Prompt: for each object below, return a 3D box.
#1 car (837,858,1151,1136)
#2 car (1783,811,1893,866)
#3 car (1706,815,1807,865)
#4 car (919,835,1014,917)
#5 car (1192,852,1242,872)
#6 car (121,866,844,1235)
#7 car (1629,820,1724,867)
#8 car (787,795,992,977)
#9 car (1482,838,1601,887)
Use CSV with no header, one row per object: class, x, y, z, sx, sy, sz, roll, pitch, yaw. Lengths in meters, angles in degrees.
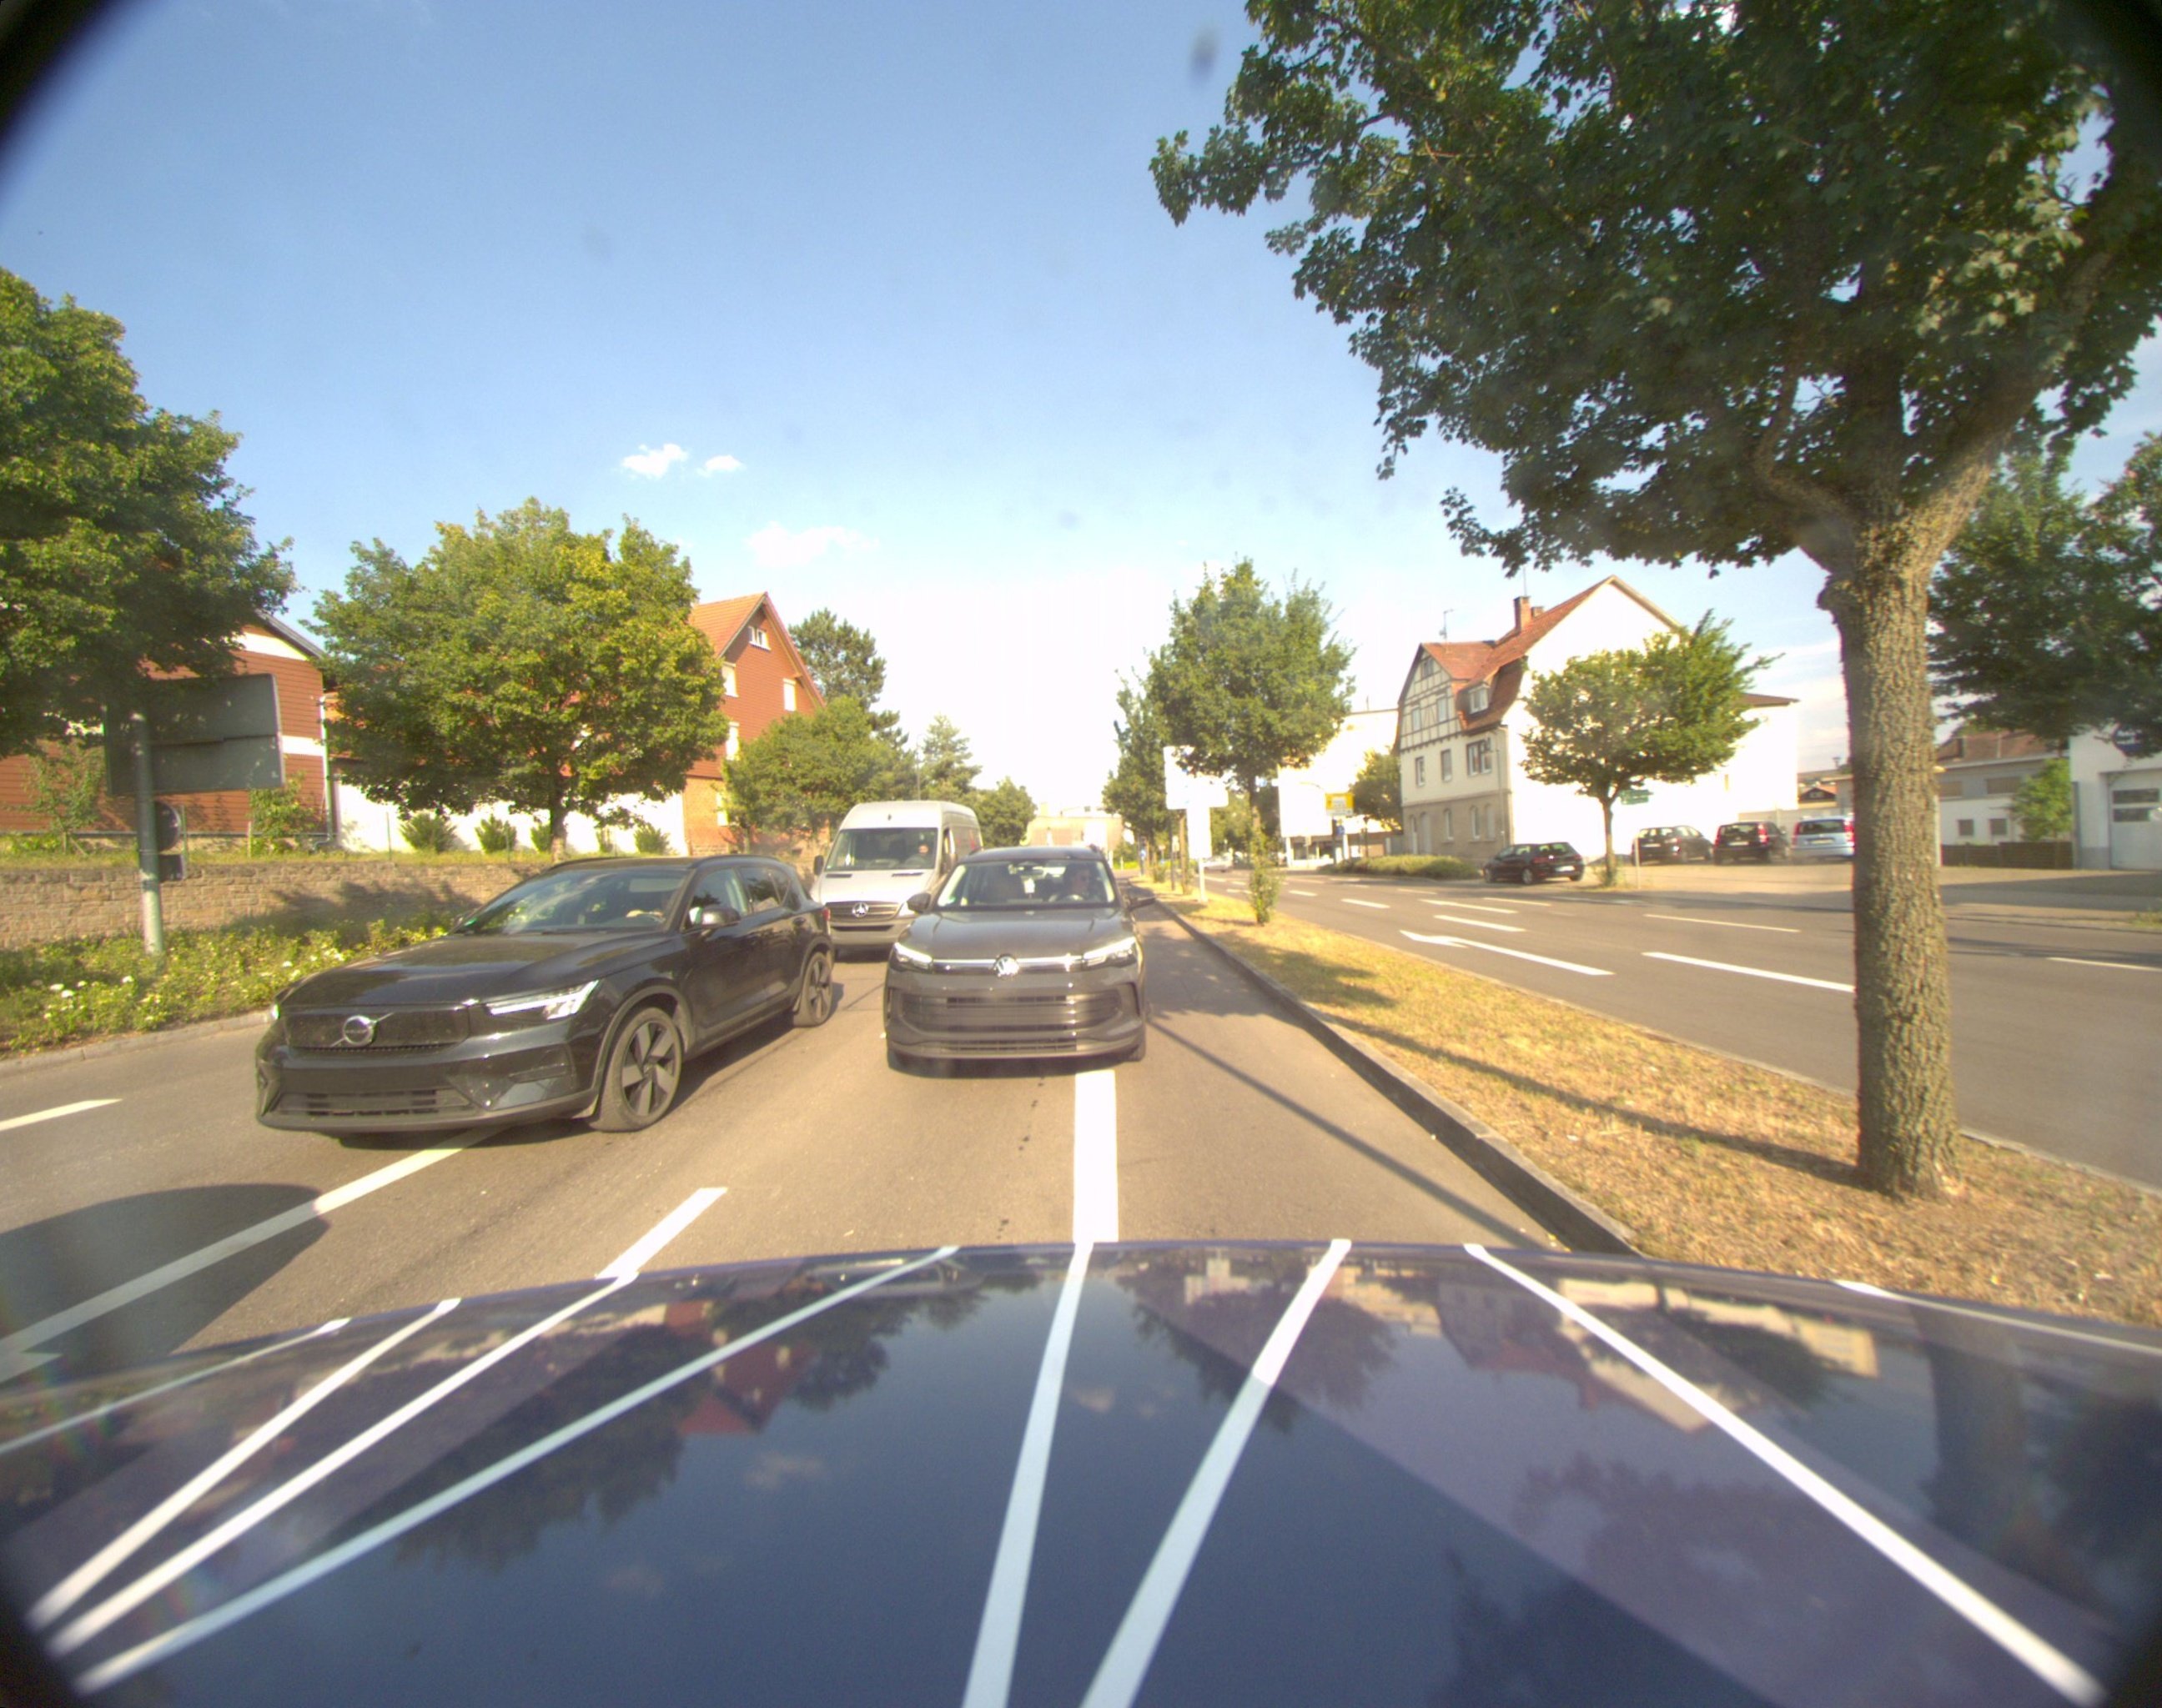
car,-0.458,0.866,6.669,1.845,1.600,4.318,-1,0,2
car,24.873,-0.523,24.940,3.830,1.493,1.816,-5,0,-35
car,24.651,-0.511,27.706,3.830,1.493,1.816,-5,0,-35
car,-3.021,0.545,21.003,1.845,2.018,4.318,-1,0,2
car,12.327,0.735,68.789,4.000,1.622,1.858,-2,0,-11
car,-3.428,0.945,5.647,1.845,1.600,4.318,-1,0,2
car,23.373,-0.414,29.802,3.830,1.493,1.816,-5,0,-35
car,-3.076,0.441,13.812,1.992,2.554,6.046,-1,0,2
car,16.027,0.261,26.668,1.818,1.442,3.825,-5,0,1
